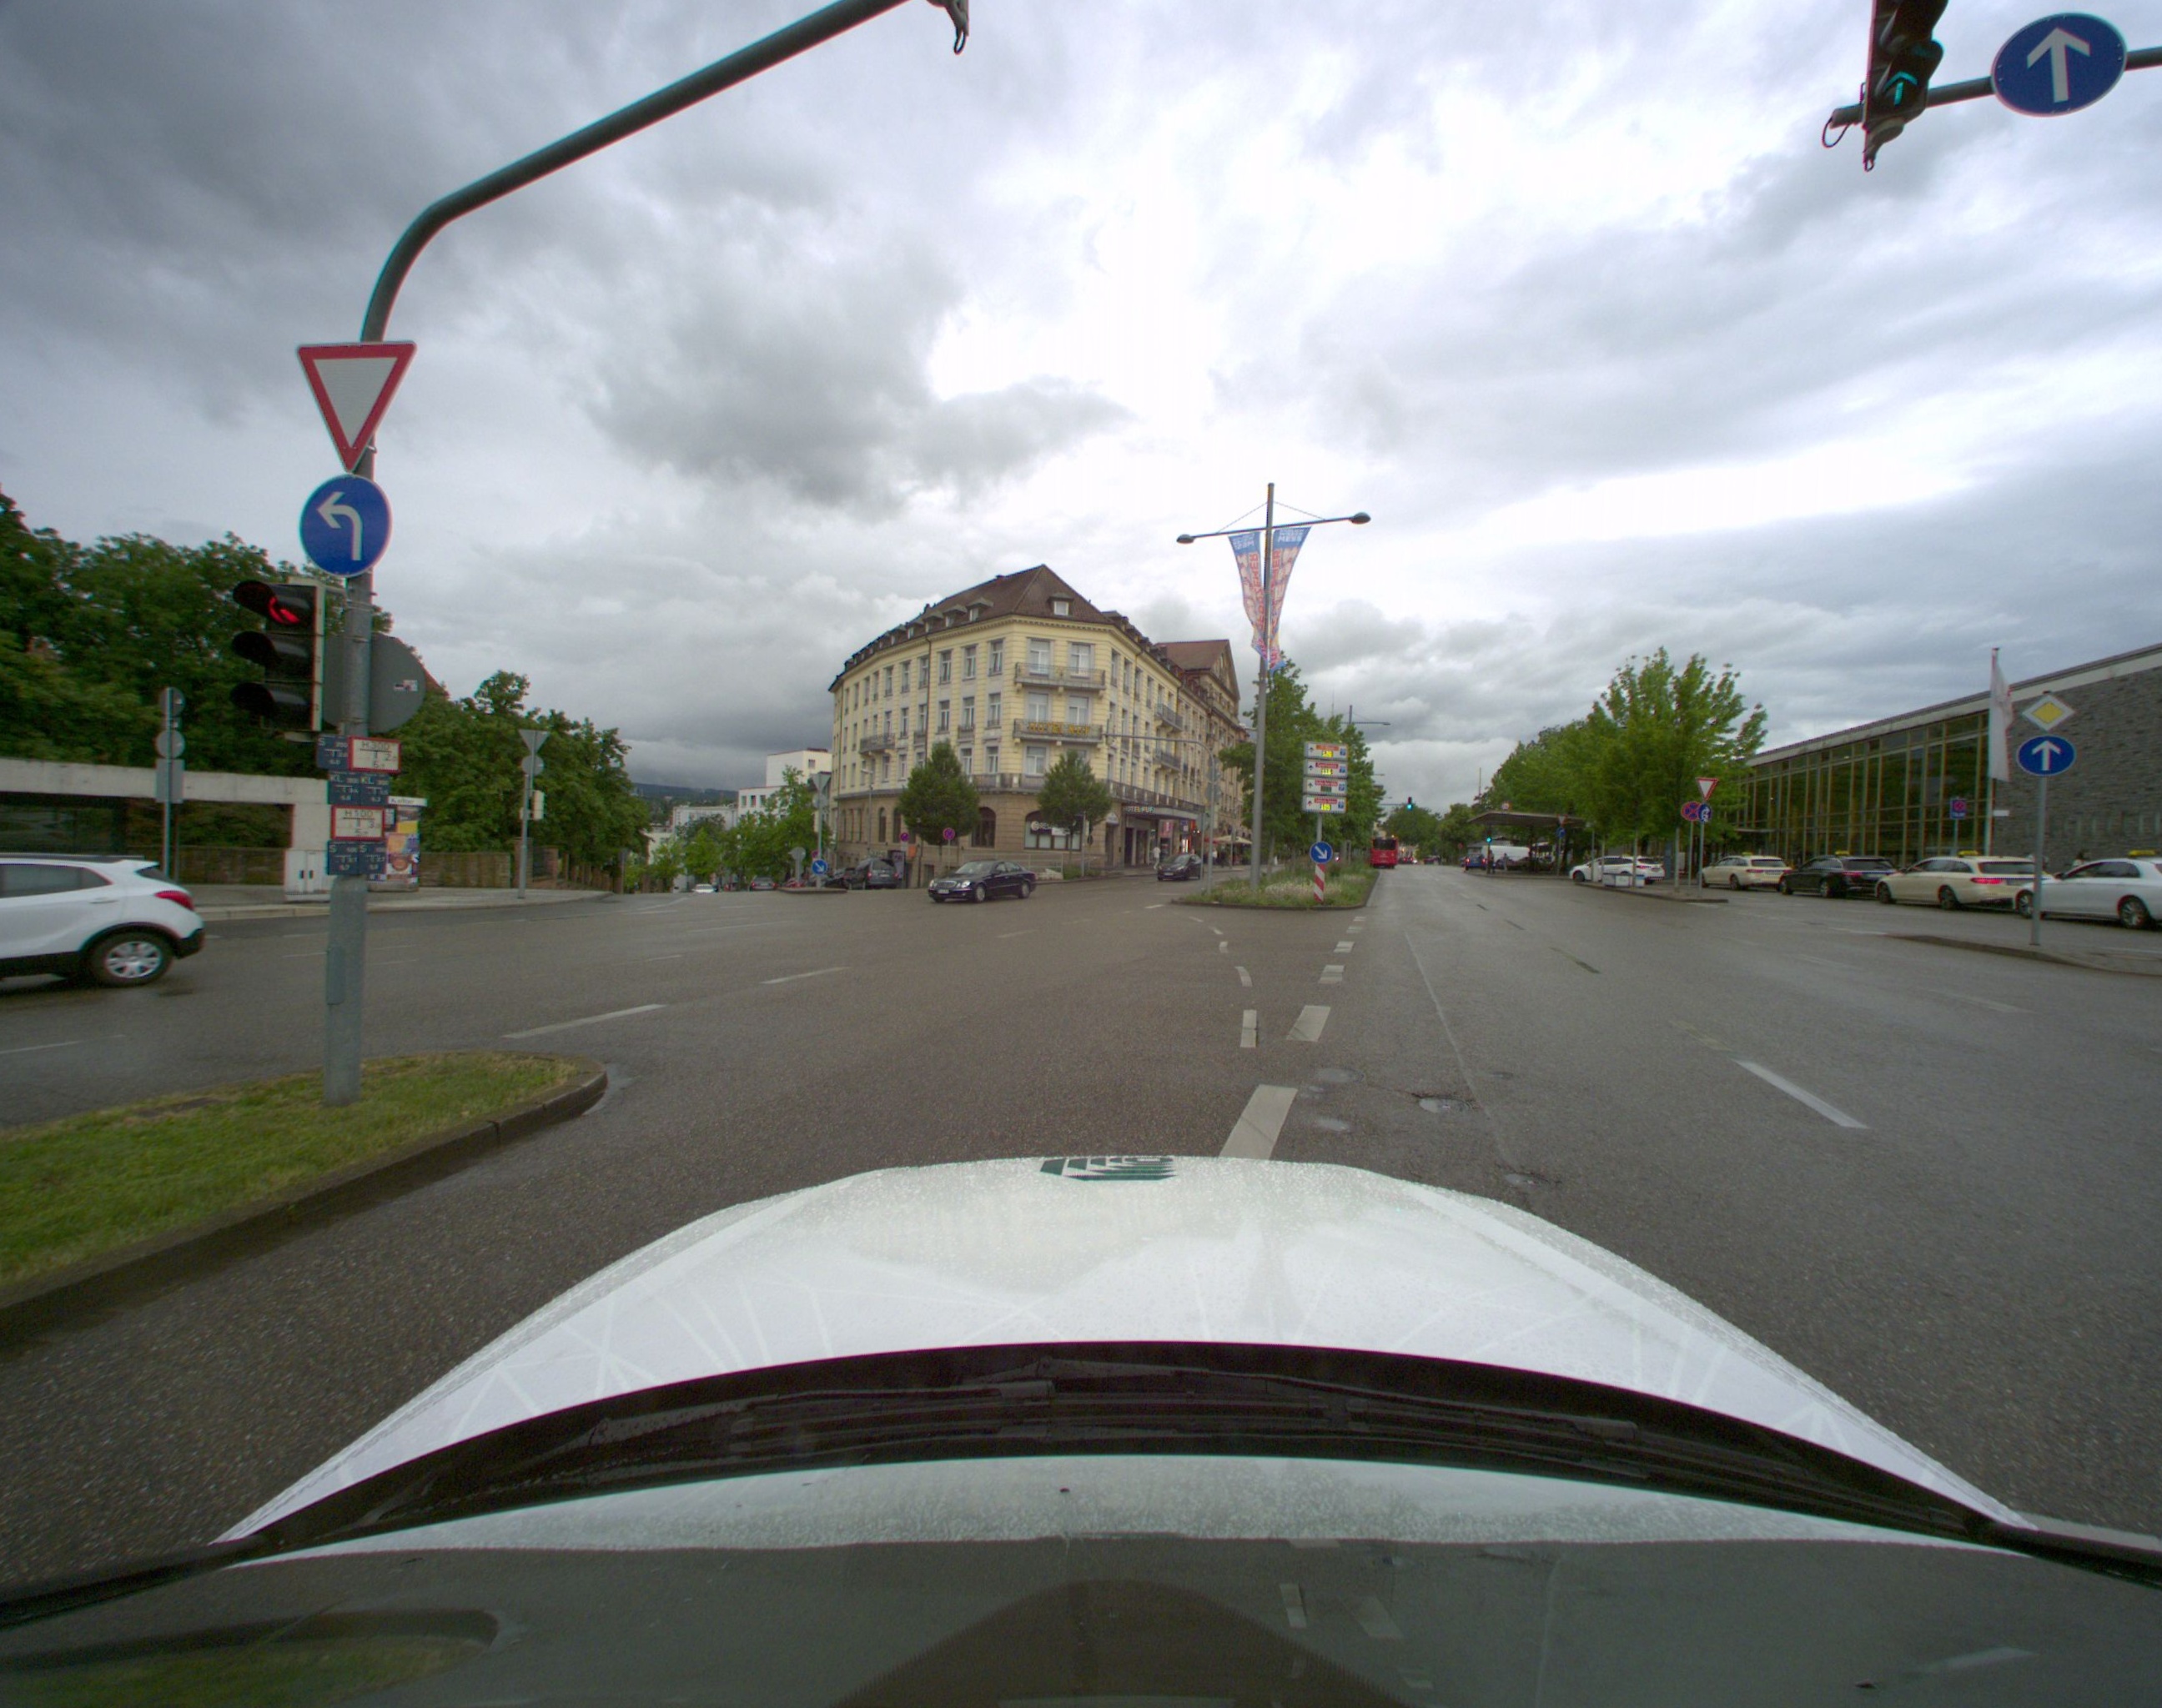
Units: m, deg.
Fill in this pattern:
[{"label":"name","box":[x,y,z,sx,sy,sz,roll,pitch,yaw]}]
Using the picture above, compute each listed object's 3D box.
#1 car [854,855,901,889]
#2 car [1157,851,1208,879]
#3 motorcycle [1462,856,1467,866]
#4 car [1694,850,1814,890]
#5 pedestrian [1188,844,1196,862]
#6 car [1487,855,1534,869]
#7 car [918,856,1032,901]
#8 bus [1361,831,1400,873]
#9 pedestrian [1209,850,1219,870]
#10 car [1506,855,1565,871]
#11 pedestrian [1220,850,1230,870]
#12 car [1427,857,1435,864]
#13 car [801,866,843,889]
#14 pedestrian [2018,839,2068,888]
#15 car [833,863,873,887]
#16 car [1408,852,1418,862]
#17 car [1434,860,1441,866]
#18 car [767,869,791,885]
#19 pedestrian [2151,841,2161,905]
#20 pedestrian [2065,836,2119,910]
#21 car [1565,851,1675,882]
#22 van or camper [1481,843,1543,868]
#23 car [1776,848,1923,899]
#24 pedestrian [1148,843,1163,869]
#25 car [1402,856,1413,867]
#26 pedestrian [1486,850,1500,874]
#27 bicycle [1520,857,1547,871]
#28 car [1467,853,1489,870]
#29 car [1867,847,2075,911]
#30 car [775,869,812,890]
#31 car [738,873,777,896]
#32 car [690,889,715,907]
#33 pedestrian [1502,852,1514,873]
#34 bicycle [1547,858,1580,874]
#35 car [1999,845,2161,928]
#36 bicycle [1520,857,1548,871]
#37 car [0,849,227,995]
[{"label":"car","box":[-11.469,0.978,45.764,1.639,1.759,3.963,0,0,-28]},{"label":"car","box":[5.668,0.592,45.070,1.662,1.512,3.885,-1,-1,24]},{"label":"motorcycle","box":[50.642,0.904,107.460,0.589,1.288,1.965,0,0,27]},{"label":"car","box":[28.804,0.659,35.088,1.979,1.599,4.977,-1,0,14]},{"label":"pedestrian","box":[10.136,-0.115,74.560,0.662,1.664,0.538,-1,-1,13]},{"label":"car","box":[44.841,0.841,84.979,3.980,1.443,1.861,1,-1,-5]},{"label":"car","box":[-3.574,0.807,28.155,1.937,1.422,4.024,-1,-1,28]},{"label":"bus","box":[30.915,-0.119,83.750,3.514,3.979,11.229,-1,-1,21]},{"label":"pedestrian","box":[11.404,0.523,69.726,0.675,1.664,0.811,-1,-1,24]},{"label":"car","box":[39.841,0.754,71.380,4.170,1.325,1.841,1,-1,1]},{"label":"pedestrian","box":[12.266,0.511,69.444,0.675,1.664,0.811,-1,-1,21]},{"label":"car","box":[77.975,1.440,181.320,1.581,1.561,3.669,-1,-1,22]},{"label":"car","box":[-17.718,1.583,55.615,1.777,1.478,3.958,0,-1,-33]},{"label":"pedestrian","box":[31.213,0.305,26.429,0.762,1.580,0.714,-1,-1,17]},{"label":"car","box":[-14.446,1.285,51.434,1.639,1.398,3.963,0,0,-28]},{"label":"car","box":[70.879,0.648,173.911,1.976,2.014,4.021,-1,-1,22]},{"label":"car","box":[101.104,2.420,230.822,1.630,1.661,3.669,-1,-1,22]},{"label":"car","box":[-29.249,2.184,78.745,1.774,1.478,3.964,0,-1,-27]},{"label":"pedestrian","box":[27.971,0.472,20.687,0.723,1.626,0.791,0,-1,-23]},{"label":"pedestrian","box":[30.490,0.564,24.576,0.787,2.164,0.727,-1,-1,29]},{"label":"car","box":[27.997,0.640,42.519,1.763,1.546,4.748,1,0,-18]},{"label":"van or camper","box":[47.783,0.147,90.370,5.938,2.763,2.194,0,-1,-6]},{"label":"car","box":[26.957,0.622,28.818,1.977,1.599,4.983,1,1,20]},{"label":"pedestrian","box":[5.261,0.158,57.544,0.872,1.813,0.754,-1,-1,21]},{"label":"car","box":[64.104,1.462,159.880,1.976,2.014,4.021,-1,-1,22]},{"label":"pedestrian","box":[29.683,0.569,58.648,0.741,1.747,0.839,0,-1,13]},{"label":"bicycle","box":[34.613,0.775,62.258,1.819,1.056,0.421,0,-1,3]},{"label":"car","box":[36.946,0.710,75.863,1.842,1.569,4.023,1,-1,25]},{"label":"car","box":[24.737,0.626,22.945,1.976,1.599,4.984,-1,0,22]},{"label":"car","box":[-21.402,1.894,60.526,1.777,1.478,3.968,0,-1,-33]},{"label":"car","box":[-22.256,2.066,55.976,1.706,1.466,4.406,0,-1,-32]},{"label":"car","box":[-32.628,3.781,70.165,1.639,1.398,3.962,0,-1,-29]},{"label":"pedestrian","box":[38.764,0.771,73.948,0.849,1.835,1.196,0,-1,21]},{"label":"bicycle","box":[31.792,0.794,53.665,1.812,1.056,0.422,-1,-1,21]},{"label":"car","box":[22.623,0.633,17.460,1.863,1.599,4.928,-1,-1,22]},{"label":"bicycle","box":[34.384,0.773,61.808,1.819,1.056,0.421,0,-1,3]},{"label":"car","box":[-13.041,0.765,9.220,1.938,1.618,4.232,-1,-1,24]}]
